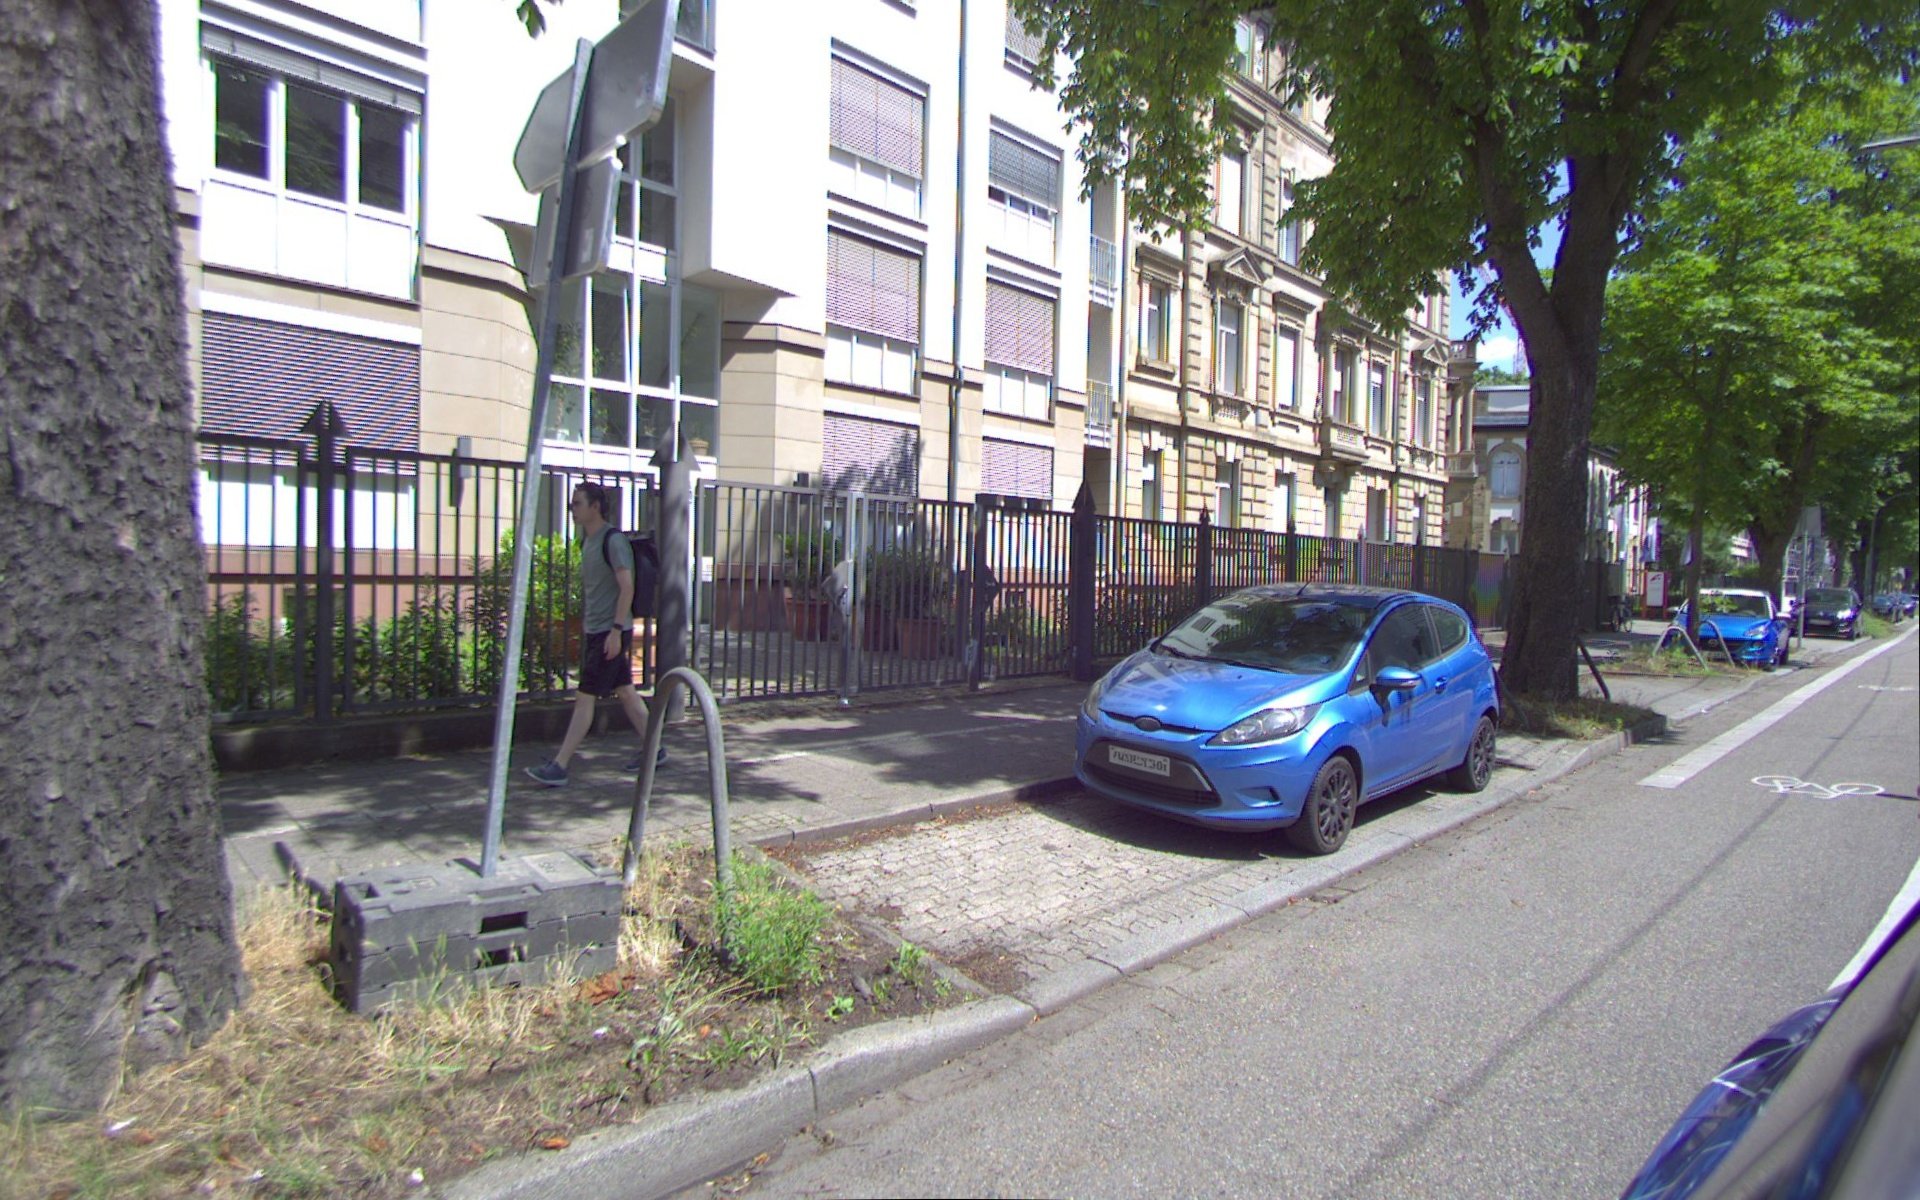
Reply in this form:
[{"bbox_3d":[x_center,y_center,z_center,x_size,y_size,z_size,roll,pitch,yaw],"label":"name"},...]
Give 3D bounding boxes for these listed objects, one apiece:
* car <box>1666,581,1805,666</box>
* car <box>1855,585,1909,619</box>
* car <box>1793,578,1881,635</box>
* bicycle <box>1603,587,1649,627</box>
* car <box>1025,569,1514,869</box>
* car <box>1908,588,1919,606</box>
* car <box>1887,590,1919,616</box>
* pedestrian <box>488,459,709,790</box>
[{"bbox_3d":[15.165,0.396,19.736,1.692,1.471,3.418,3,2,45],"label":"car"},{"bbox_3d":[43.970,0.071,48.232,3.760,1.419,1.624,0,5,-45],"label":"car"},{"bbox_3d":[28.392,0.180,32.736,4.017,1.635,1.732,0,4,-44],"label":"car"},{"bbox_3d":[18.969,0.184,28.810,1.947,1.084,0.608,0,2,-43],"label":"bicycle"},{"bbox_3d":[2.287,0.561,6.927,1.678,1.461,3.661,3,2,45],"label":"car"},{"bbox_3d":[81.037,-0.244,85.139,3.935,1.419,1.624,0,5,-45],"label":"car"},{"bbox_3d":[57.515,0.187,61.382,3.935,1.419,1.624,0,5,-45],"label":"car"},{"bbox_3d":[-2.193,0.121,6.177,1.066,1.819,0.685,0,2,-44],"label":"pedestrian"}]
